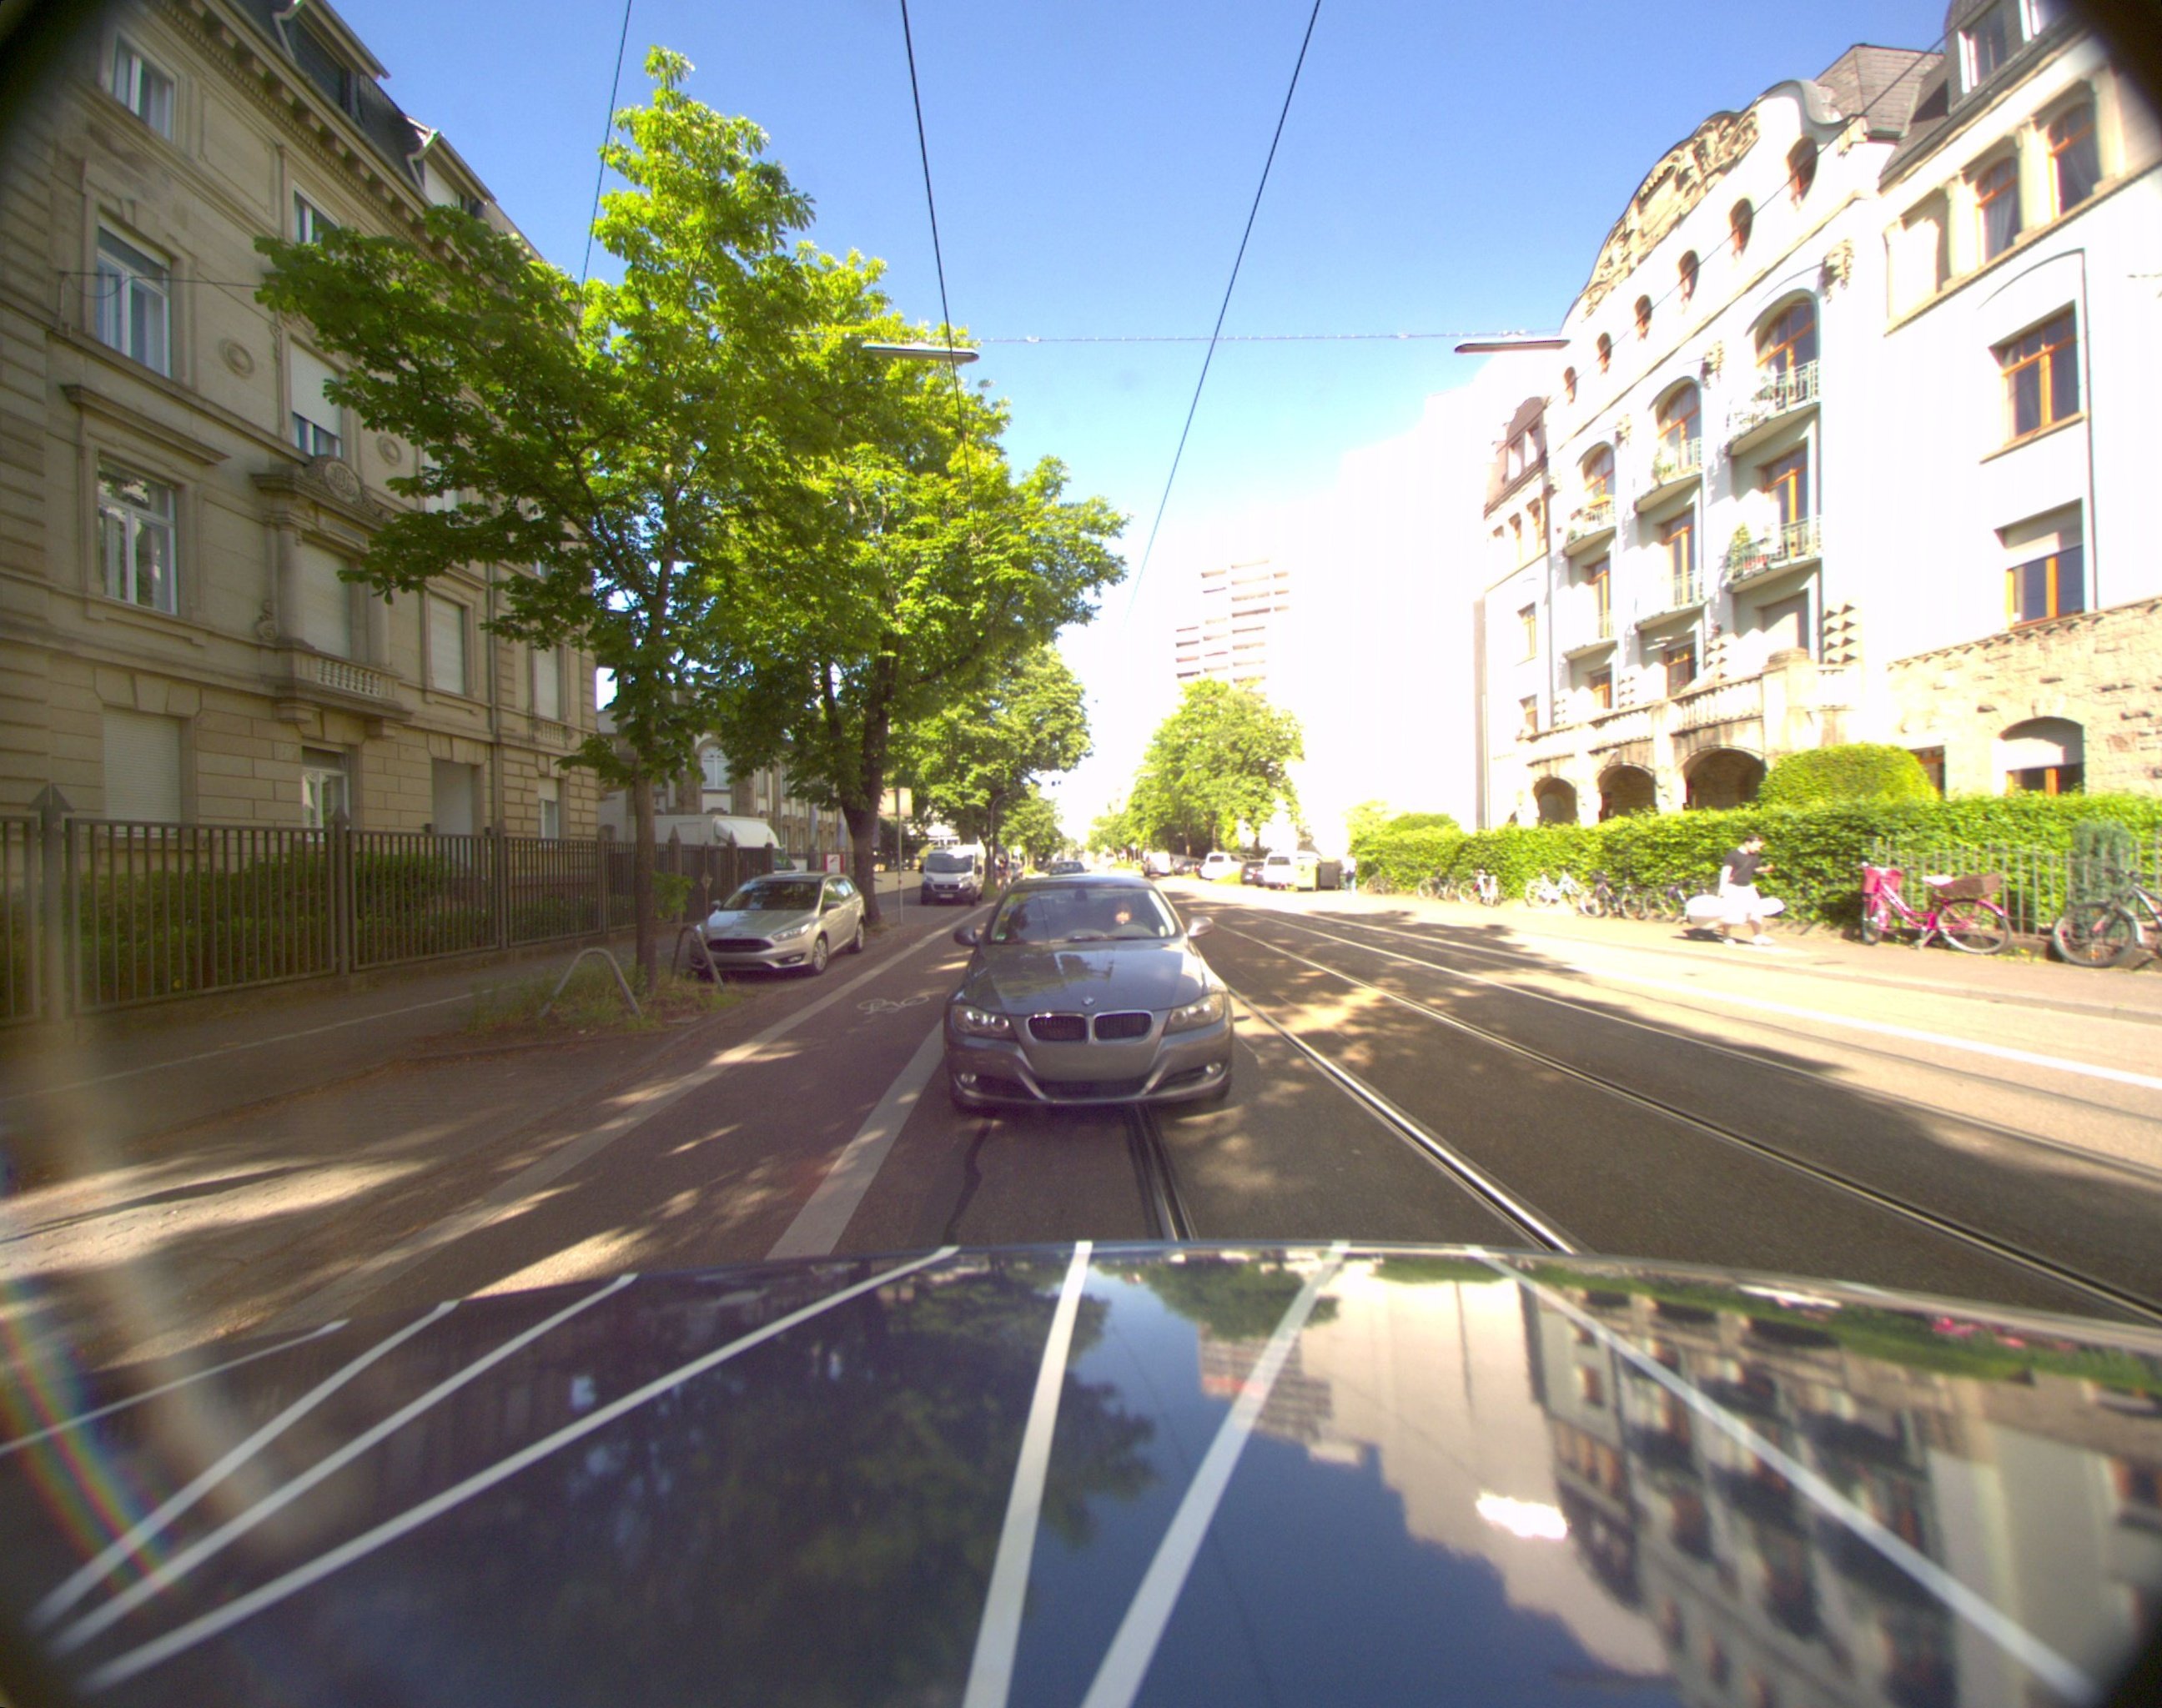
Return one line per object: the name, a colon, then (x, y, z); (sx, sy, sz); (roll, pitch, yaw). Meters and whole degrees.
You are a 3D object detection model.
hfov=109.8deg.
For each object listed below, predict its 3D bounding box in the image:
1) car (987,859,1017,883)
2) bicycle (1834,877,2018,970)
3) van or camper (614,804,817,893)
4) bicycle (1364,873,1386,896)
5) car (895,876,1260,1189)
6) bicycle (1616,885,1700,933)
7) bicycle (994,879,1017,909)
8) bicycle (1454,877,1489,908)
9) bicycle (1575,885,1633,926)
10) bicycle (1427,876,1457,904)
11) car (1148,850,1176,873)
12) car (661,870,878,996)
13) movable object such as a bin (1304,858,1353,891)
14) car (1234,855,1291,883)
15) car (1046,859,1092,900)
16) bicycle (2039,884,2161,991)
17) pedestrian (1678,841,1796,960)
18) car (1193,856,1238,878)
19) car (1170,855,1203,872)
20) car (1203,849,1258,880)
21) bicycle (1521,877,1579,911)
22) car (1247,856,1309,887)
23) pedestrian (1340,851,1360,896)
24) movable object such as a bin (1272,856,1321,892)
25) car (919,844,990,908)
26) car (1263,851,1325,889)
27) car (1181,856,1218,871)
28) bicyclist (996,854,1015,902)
car: (-5.536, 1.188, 53.761); (1.866, 1.541, 4.101); (-2, 1, -3)
bicycle: (11.010, 0.860, 9.999); (0.405, 1.018, 1.816); (-2, 1, 1)
van or camper: (-12.166, -0.135, 25.188); (6.721, 2.612, 2.126); (-2, 1, 24)
bicycle: (10.630, 1.100, 27.456); (0.297, 0.757, 1.263); (-2, 1, 1)
car: (0.009, 1.001, 5.994); (1.869, 1.426, 3.999); (-2, 1, 1)
bicycle: (10.915, 1.025, 14.427); (0.405, 0.757, 1.581); (-2, 1, 1)
bicycle: (-2.702, 1.433, 27.401); (0.535, 0.917, 2.057); (-2, 1, 1)
bicycle: (10.740, 1.057, 20.912); (0.318, 0.757, 1.263); (-2, 1, 1)
bicycle: (10.939, 1.058, 15.932); (0.339, 0.757, 1.263); (-2, 1, 1)
bicycle: (10.763, 1.052, 22.703); (0.297, 0.757, 1.263); (-2, 1, 1)
car: (7.034, 0.621, 65.935); (1.997, 1.893, 4.003); (-2, 1, 11)
car: (-4.710, 1.094, 12.270); (1.877, 1.534, 4.364); (0, 1, -3)
movable object such as a bin: (11.115, 0.902, 34.211); (1.501, 1.309, 2.096); (-2, 1, 1)
car: (10.263, 0.855, 43.025); (2.757, 1.427, 1.458); (-2, 1, -16)
car: (-0.460, 1.063, 33.492); (1.828, 1.559, 3.999); (-2, 1, 1)
bicycle: (11.083, 0.864, 7.725); (0.405, 1.018, 1.816); (-2, 1, 1)
pedestrian: (9.741, 0.665, 11.323); (0.869, 1.619, 0.870); (-6, 1, 1)
car: (9.472, 0.909, 53.544); (2.757, 1.427, 1.458); (-2, 1, -16)
car: (9.698, 0.852, 69.795); (2.757, 1.417, 1.226); (-2, 1, -16)
car: (9.898, 0.682, 50.115); (3.450, 1.860, 1.918); (-3, 1, -44)
bicycle: (11.789, 1.002, 19.104); (1.262, 0.789, 0.297); (-2, 1, 1)
car: (10.266, 0.892, 39.658); (2.757, 1.427, 1.458); (-2, 1, -16)
pedestrian: (9.876, 0.718, 27.919); (0.475, 1.619, 0.659); (-2, 1, 1)
movable object such as a bin: (9.400, 0.847, 33.242); (1.512, 1.424, 2.096); (-2, 1, 1)
car: (-4.980, 0.774, 30.781); (2.132, 2.329, 5.803); (0, 1, -3)
car: (10.296, 0.793, 36.647); (3.194, 1.763, 1.456); (1, -2, -45)
car: (9.765, 0.803, 62.697); (2.757, 1.083, 1.226); (-2, 1, -16)
bicyclist: (-2.721, 0.849, 27.427); (0.532, 1.660, 0.878); (-2, 1, 1)
